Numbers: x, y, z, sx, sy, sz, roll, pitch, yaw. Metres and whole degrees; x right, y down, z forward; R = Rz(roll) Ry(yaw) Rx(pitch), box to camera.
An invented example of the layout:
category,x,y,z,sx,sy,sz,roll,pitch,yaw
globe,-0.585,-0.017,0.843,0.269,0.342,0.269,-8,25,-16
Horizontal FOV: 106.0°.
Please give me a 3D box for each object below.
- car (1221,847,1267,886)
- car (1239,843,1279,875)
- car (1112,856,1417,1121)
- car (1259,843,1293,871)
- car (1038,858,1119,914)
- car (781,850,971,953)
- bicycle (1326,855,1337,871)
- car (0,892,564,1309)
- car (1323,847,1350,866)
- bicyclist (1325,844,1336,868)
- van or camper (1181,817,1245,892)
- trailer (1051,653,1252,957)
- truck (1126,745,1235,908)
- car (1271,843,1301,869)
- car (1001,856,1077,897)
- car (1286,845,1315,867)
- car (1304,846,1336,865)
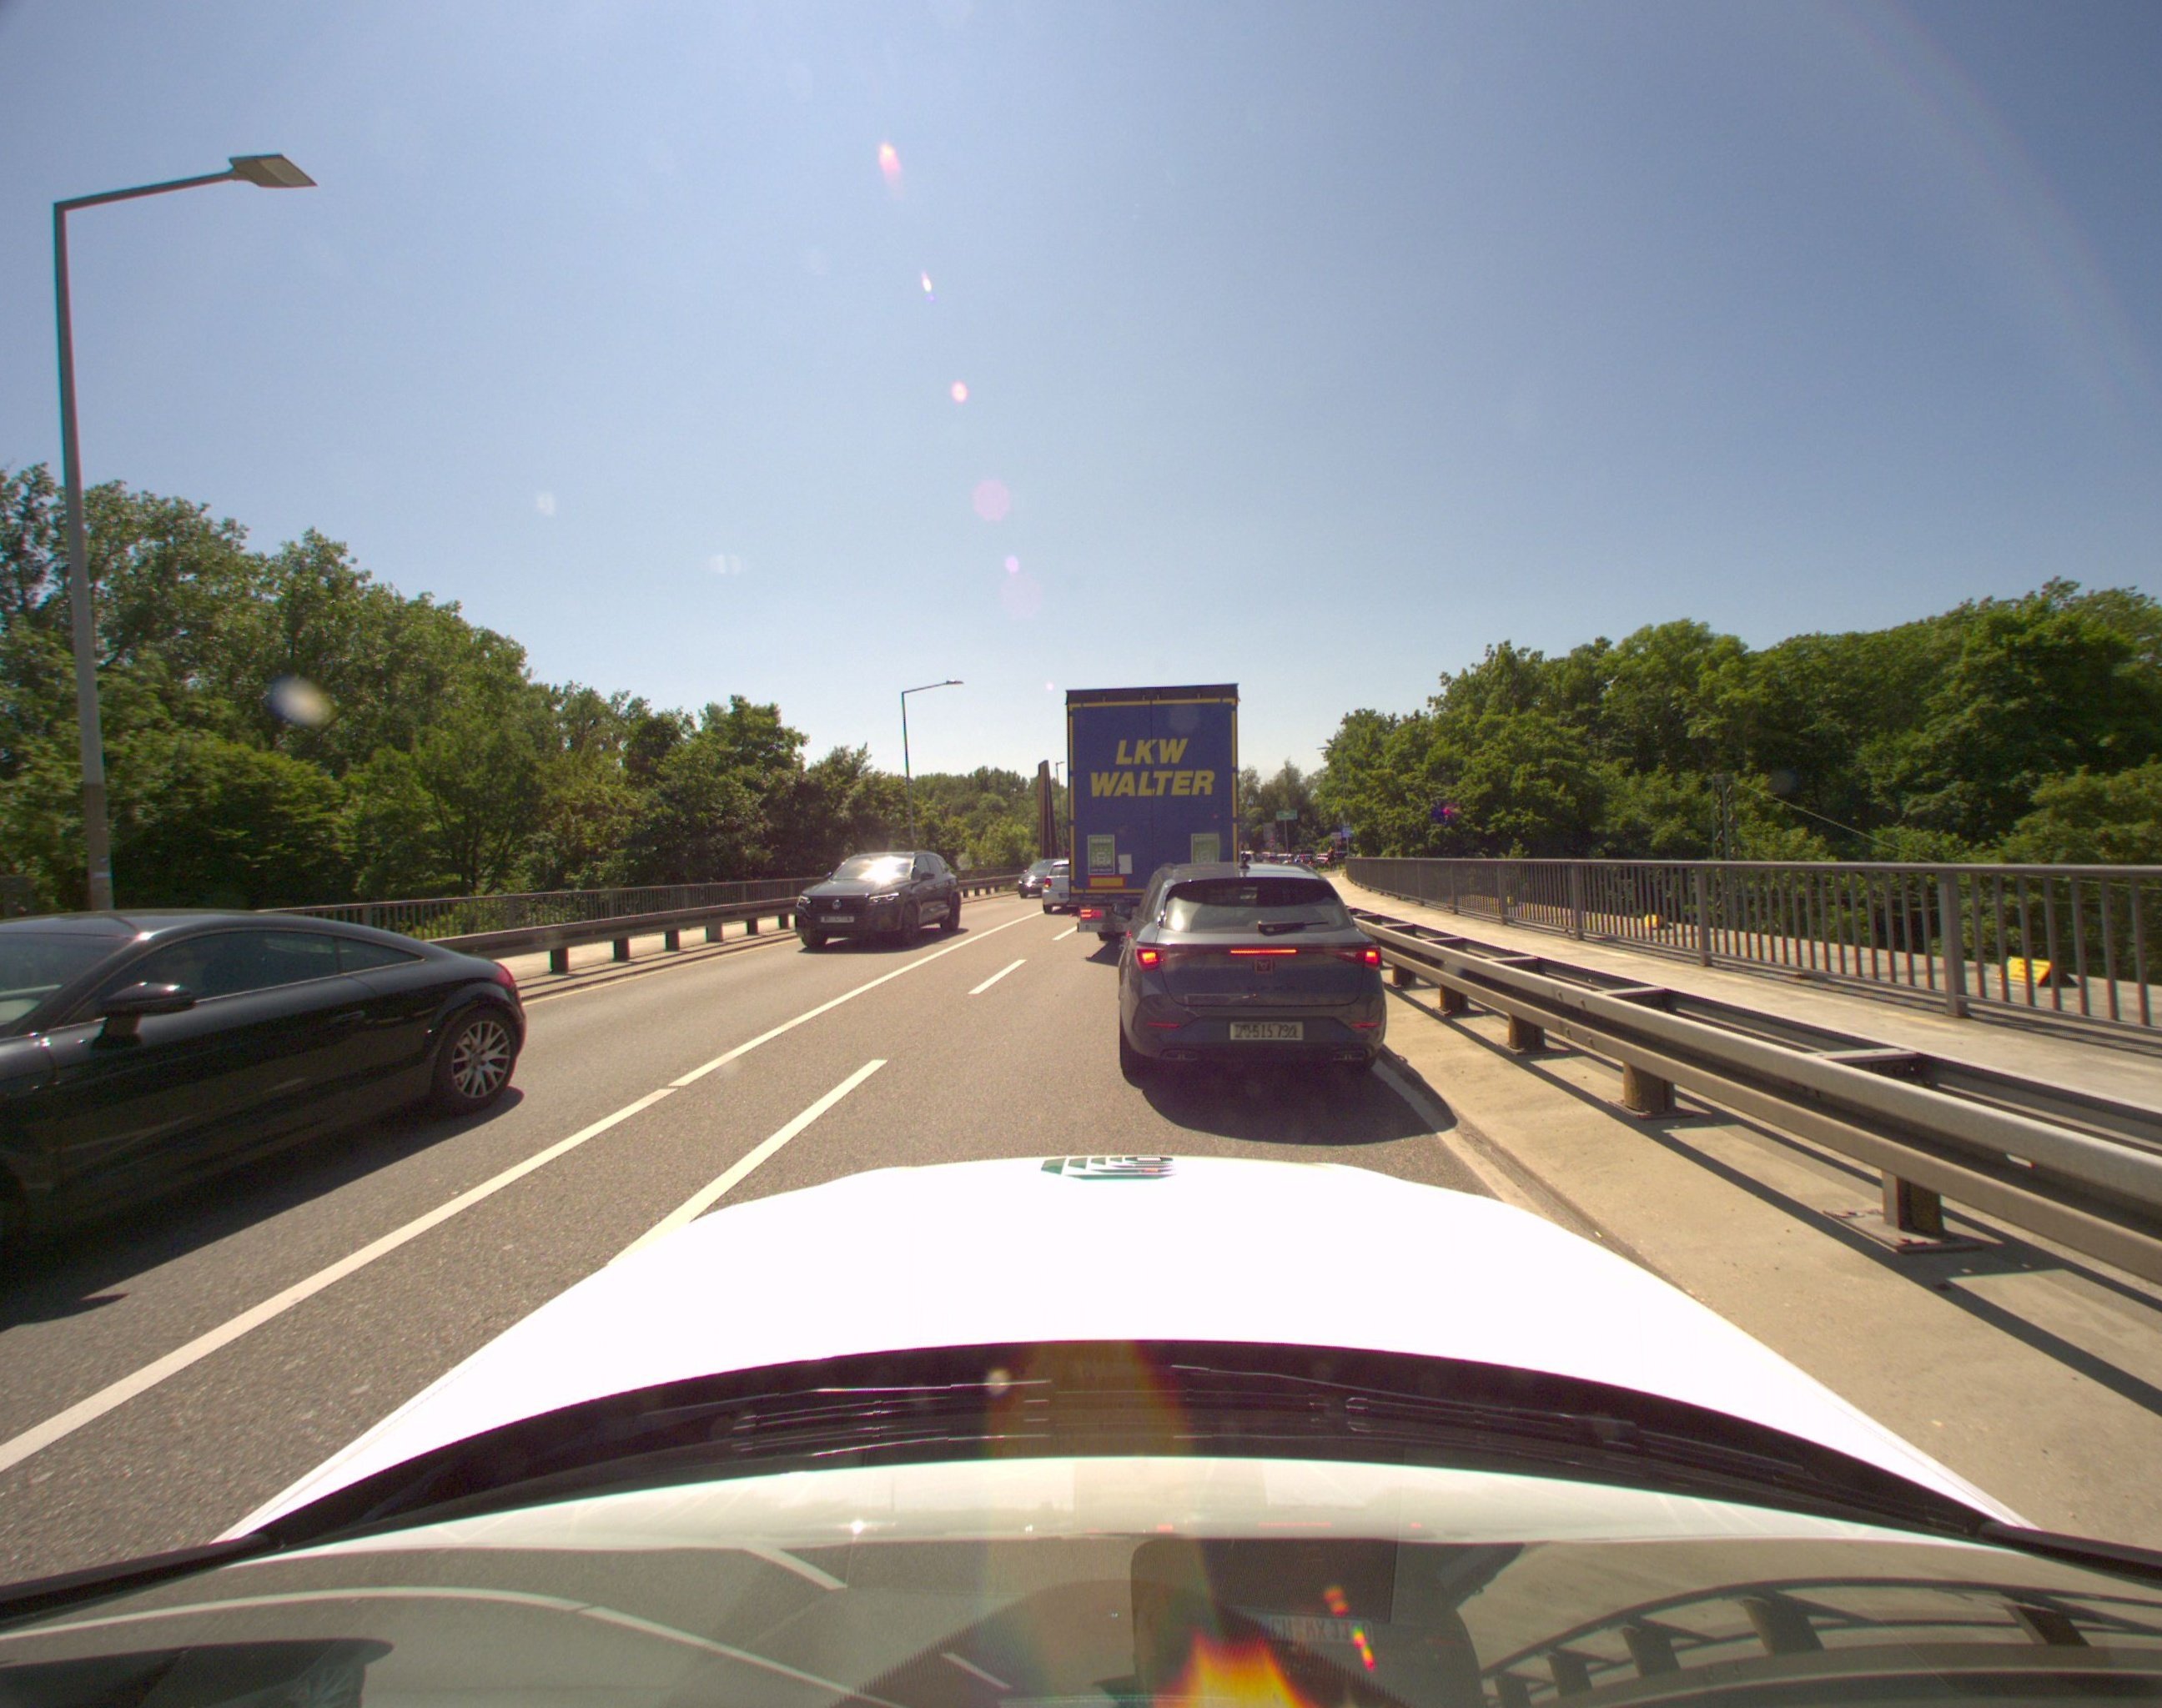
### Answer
category,x,y,z,sx,sy,sz,roll,pitch,yaw
car,8.386,0.603,41.681,1.706,1.844,4.020,-1,0,20
car,10.457,0.278,47.704,1.706,1.802,4.020,-1,0,20
car,1.108,0.766,6.572,1.671,1.456,3.960,-1,0,2
car,13.513,0.208,56.368,1.706,1.844,4.021,-1,0,21
car,0.010,0.855,23.543,1.667,1.411,3.985,-2,0,9
car,-3.744,0.793,15.856,1.955,1.673,4.623,-2,0,8
bicycle,17.730,0.618,57.702,0.578,1.035,1.490,-4,-1,12
car,-4.554,0.940,3.763,1.672,1.308,3.974,-1,0,2
car,25.261,0.244,80.444,1.669,1.760,4.025,-2,-1,31
bicyclist,17.713,0.161,57.728,0.574,1.683,0.731,-4,-1,11
van or camper,5.633,0.027,34.115,2.139,2.815,6.410,-1,0,13
trailer,2.039,-0.713,18.175,2.887,4.418,12.466,-1,0,9
truck,3.316,-0.747,25.576,2.886,4.418,6.574,-1,0,10
car,15.582,0.142,61.885,1.706,1.844,4.021,-1,0,21
car,-1.586,0.857,32.625,1.697,1.469,4.478,-1,0,15
car,18.450,0.172,68.373,1.670,1.760,4.023,-1,-1,25
car,21.906,0.155,74.620,1.975,1.575,4.024,0,-1,28
